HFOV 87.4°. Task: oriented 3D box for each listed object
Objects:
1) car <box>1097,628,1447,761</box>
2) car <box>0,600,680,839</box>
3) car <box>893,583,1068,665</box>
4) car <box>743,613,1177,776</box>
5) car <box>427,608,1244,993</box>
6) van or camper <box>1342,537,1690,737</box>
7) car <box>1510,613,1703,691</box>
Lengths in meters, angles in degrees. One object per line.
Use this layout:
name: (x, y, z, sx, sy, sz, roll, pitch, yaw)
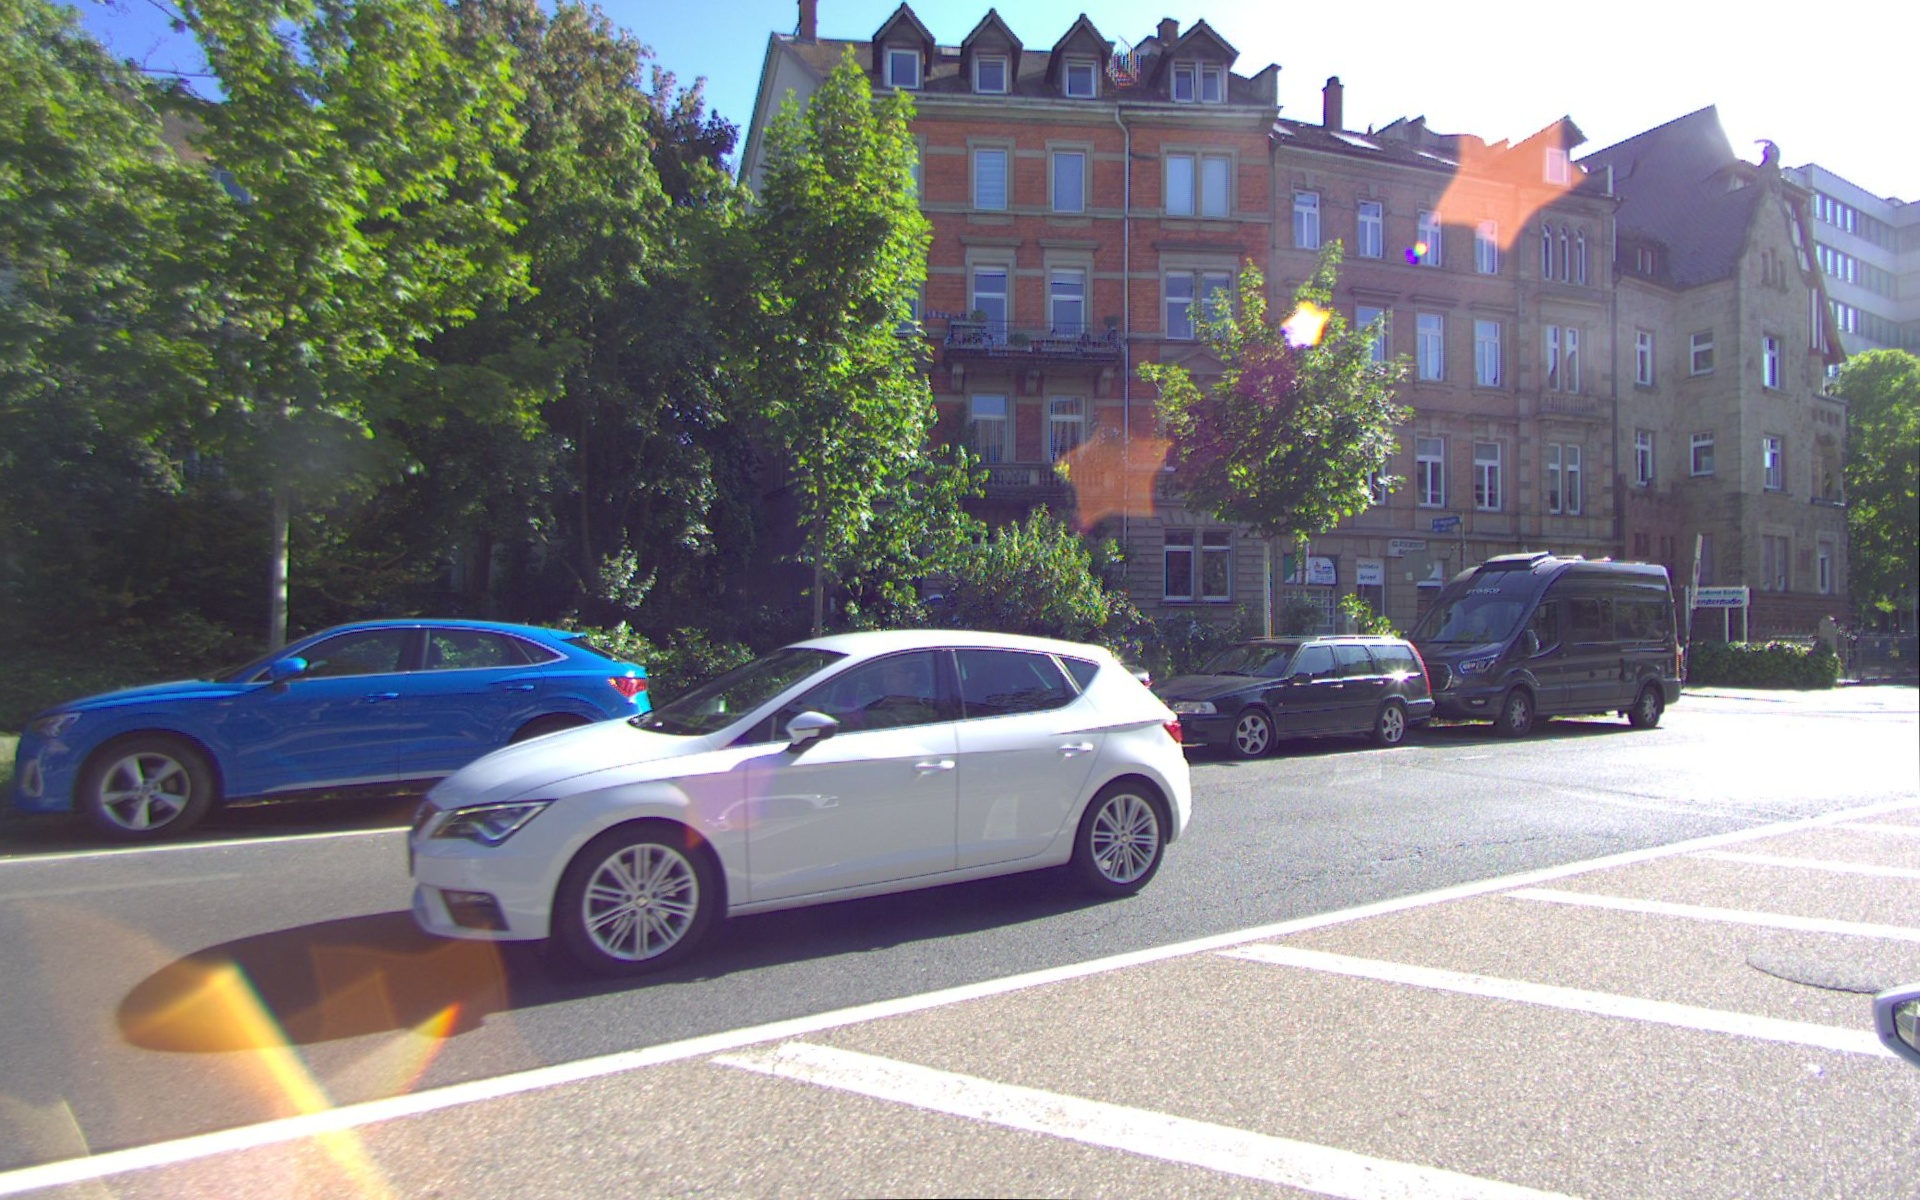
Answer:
car: (4.130, 1.137, 13.085, 4.608, 1.475, 1.686, 1, -3, -30)
car: (-4.810, 0.872, 8.389, 4.501, 1.558, 1.774, 2, -3, -28)
car: (0.471, 0.662, 26.254, 4.367, 1.938, 1.864, 2, -3, -5)
car: (0.061, 0.922, 10.726, 4.353, 1.432, 1.772, 1, -3, -30)
car: (-0.602, 0.822, 5.662, 4.175, 1.438, 1.909, 2, -2, -30)
van or camper: (9.175, 0.599, 16.408, 6.016, 2.775, 2.206, 1, -2, -30)
car: (17.040, 1.317, 26.751, 4.068, 1.693, 1.997, 3, 2, 28)
